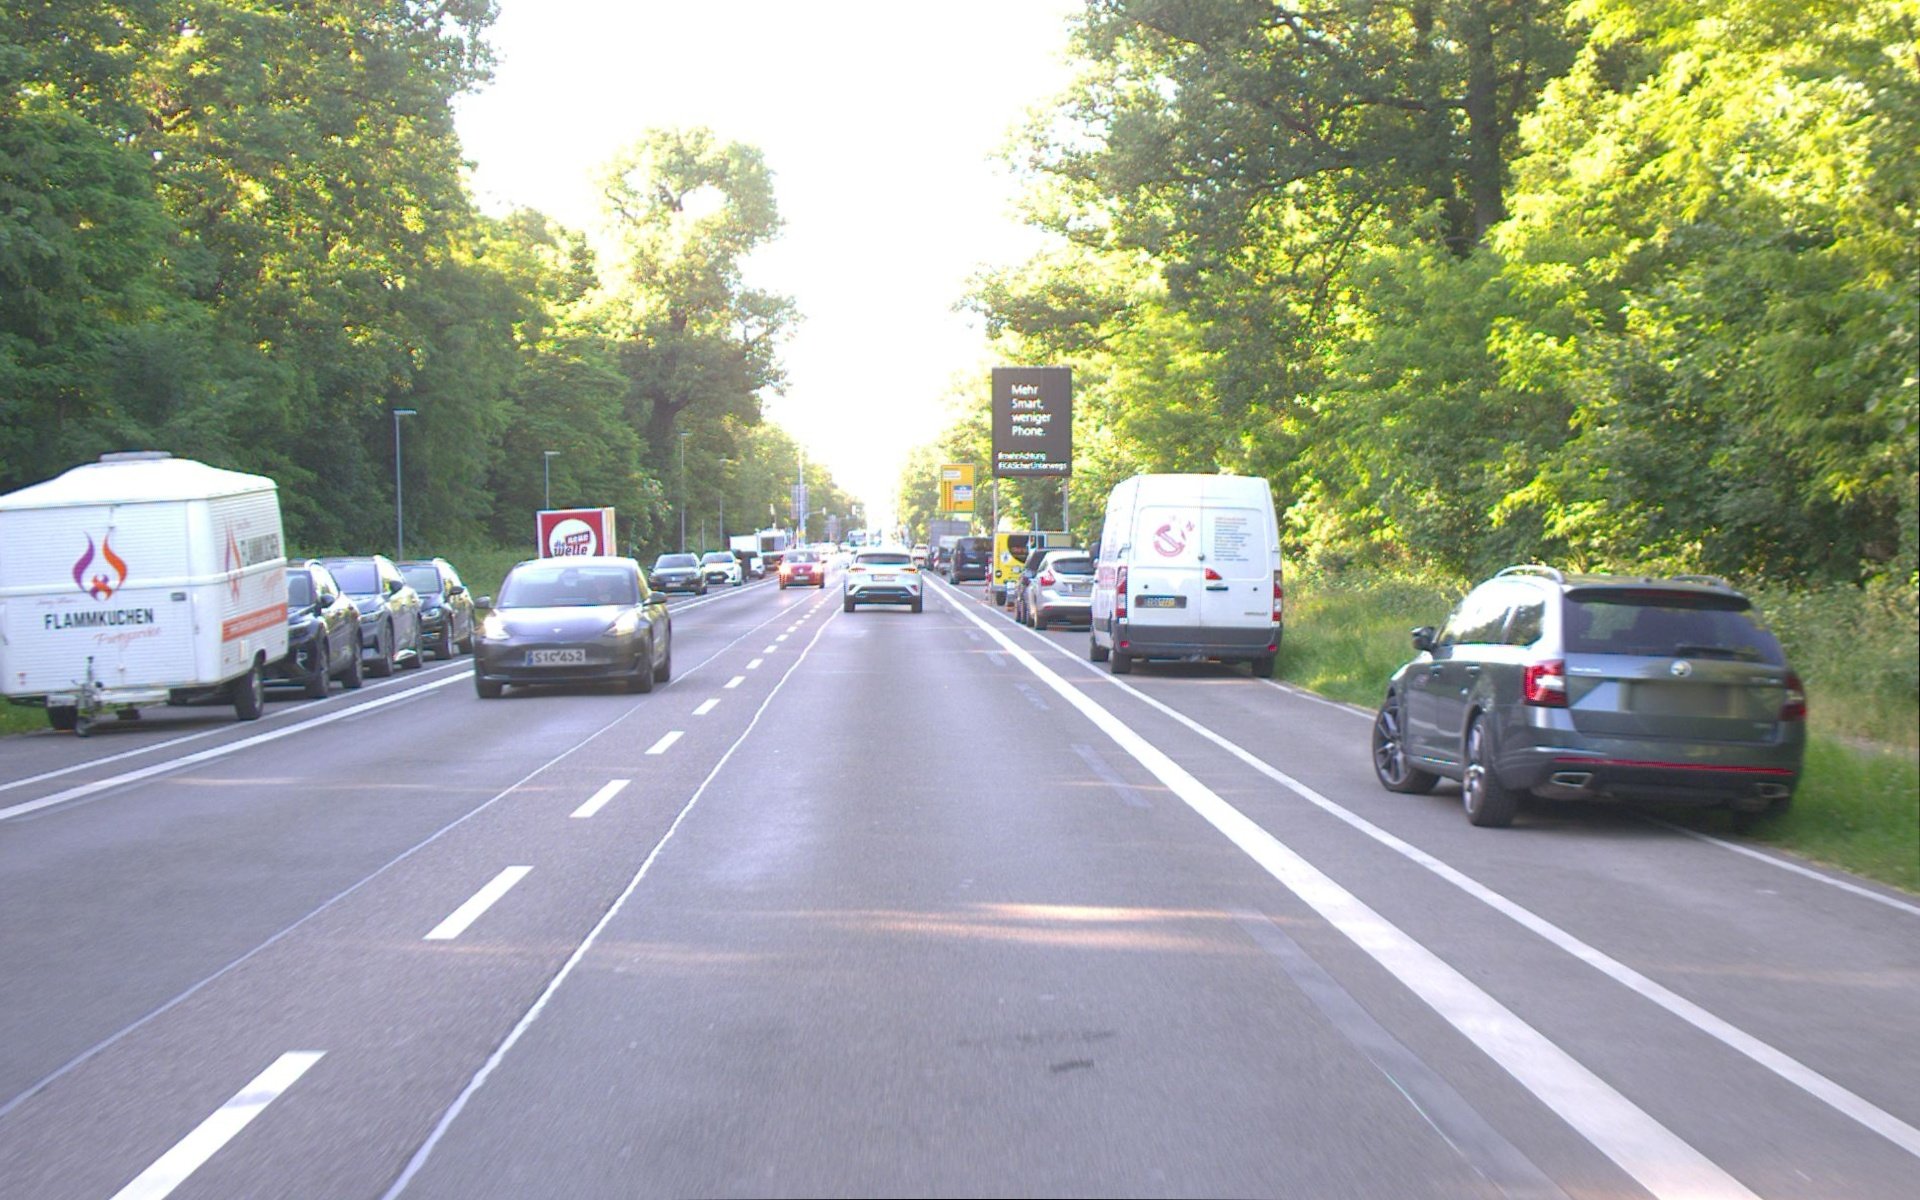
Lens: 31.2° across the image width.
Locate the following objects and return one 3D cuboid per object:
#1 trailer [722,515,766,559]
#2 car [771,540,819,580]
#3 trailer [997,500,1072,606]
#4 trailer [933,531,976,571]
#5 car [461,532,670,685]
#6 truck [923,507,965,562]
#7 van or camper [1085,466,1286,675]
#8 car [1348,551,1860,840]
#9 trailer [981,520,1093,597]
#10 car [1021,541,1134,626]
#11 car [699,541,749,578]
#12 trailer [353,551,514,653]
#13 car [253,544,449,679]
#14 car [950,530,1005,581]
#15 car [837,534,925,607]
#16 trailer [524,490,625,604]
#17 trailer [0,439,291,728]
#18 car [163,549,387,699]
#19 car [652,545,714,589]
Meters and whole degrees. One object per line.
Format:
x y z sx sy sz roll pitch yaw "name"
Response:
-11.739 -3.421 187.243 2.075 2.285 3.486 -1 1 1 "trailer"
-6.053 -1.490 126.344 1.604 1.416 3.519 -2 1 -1 "car"
1.803 -1.139 83.979 1.613 2.500 4.000 1 1 -1 "trailer"
-0.284 -2.652 185.778 1.616 2.105 2.394 1 1 20 "trailer"
-4.221 0.060 37.425 1.819 1.527 4.531 -1 1 -1 "car"
-1.026 -4.070 216.036 2.505 3.355 7.108 1 1 -1 "truck"
2.790 -0.404 43.909 2.125 2.474 6.305 0 1 0 "van or camper"
3.661 0.476 20.427 1.834 1.416 4.598 2 1 -4 "car"
2.091 -1.131 92.286 1.964 2.016 3.840 0 1 19 "trailer"
2.170 -0.339 64.449 1.734 1.482 4.402 2 1 -2 "car"
-10.043 -1.728 146.758 1.867 1.445 4.071 -3 1 -1 "car"
-7.888 -0.003 51.854 1.841 1.461 4.467 0 1 -1 "trailer"
-7.952 0.117 45.298 1.671 1.568 5.127 -4 1 -1 "car"
0.707 -1.861 141.843 2.113 2.007 5.040 2 1 -1 "car"
-1.847 -0.713 80.396 1.993 1.634 4.000 -1 1 -1 "car"
-9.077 -1.250 81.220 1.993 2.612 4.086 0 1 -1 "trailer"
-7.796 -0.185 32.544 2.345 2.520 4.345 -1 1 -4 "trailer"
-7.644 0.232 38.707 1.671 1.490 4.194 -4 1 -1 "car"
-9.624 -1.162 119.640 1.855 1.459 4.784 0 1 -1 "car"
